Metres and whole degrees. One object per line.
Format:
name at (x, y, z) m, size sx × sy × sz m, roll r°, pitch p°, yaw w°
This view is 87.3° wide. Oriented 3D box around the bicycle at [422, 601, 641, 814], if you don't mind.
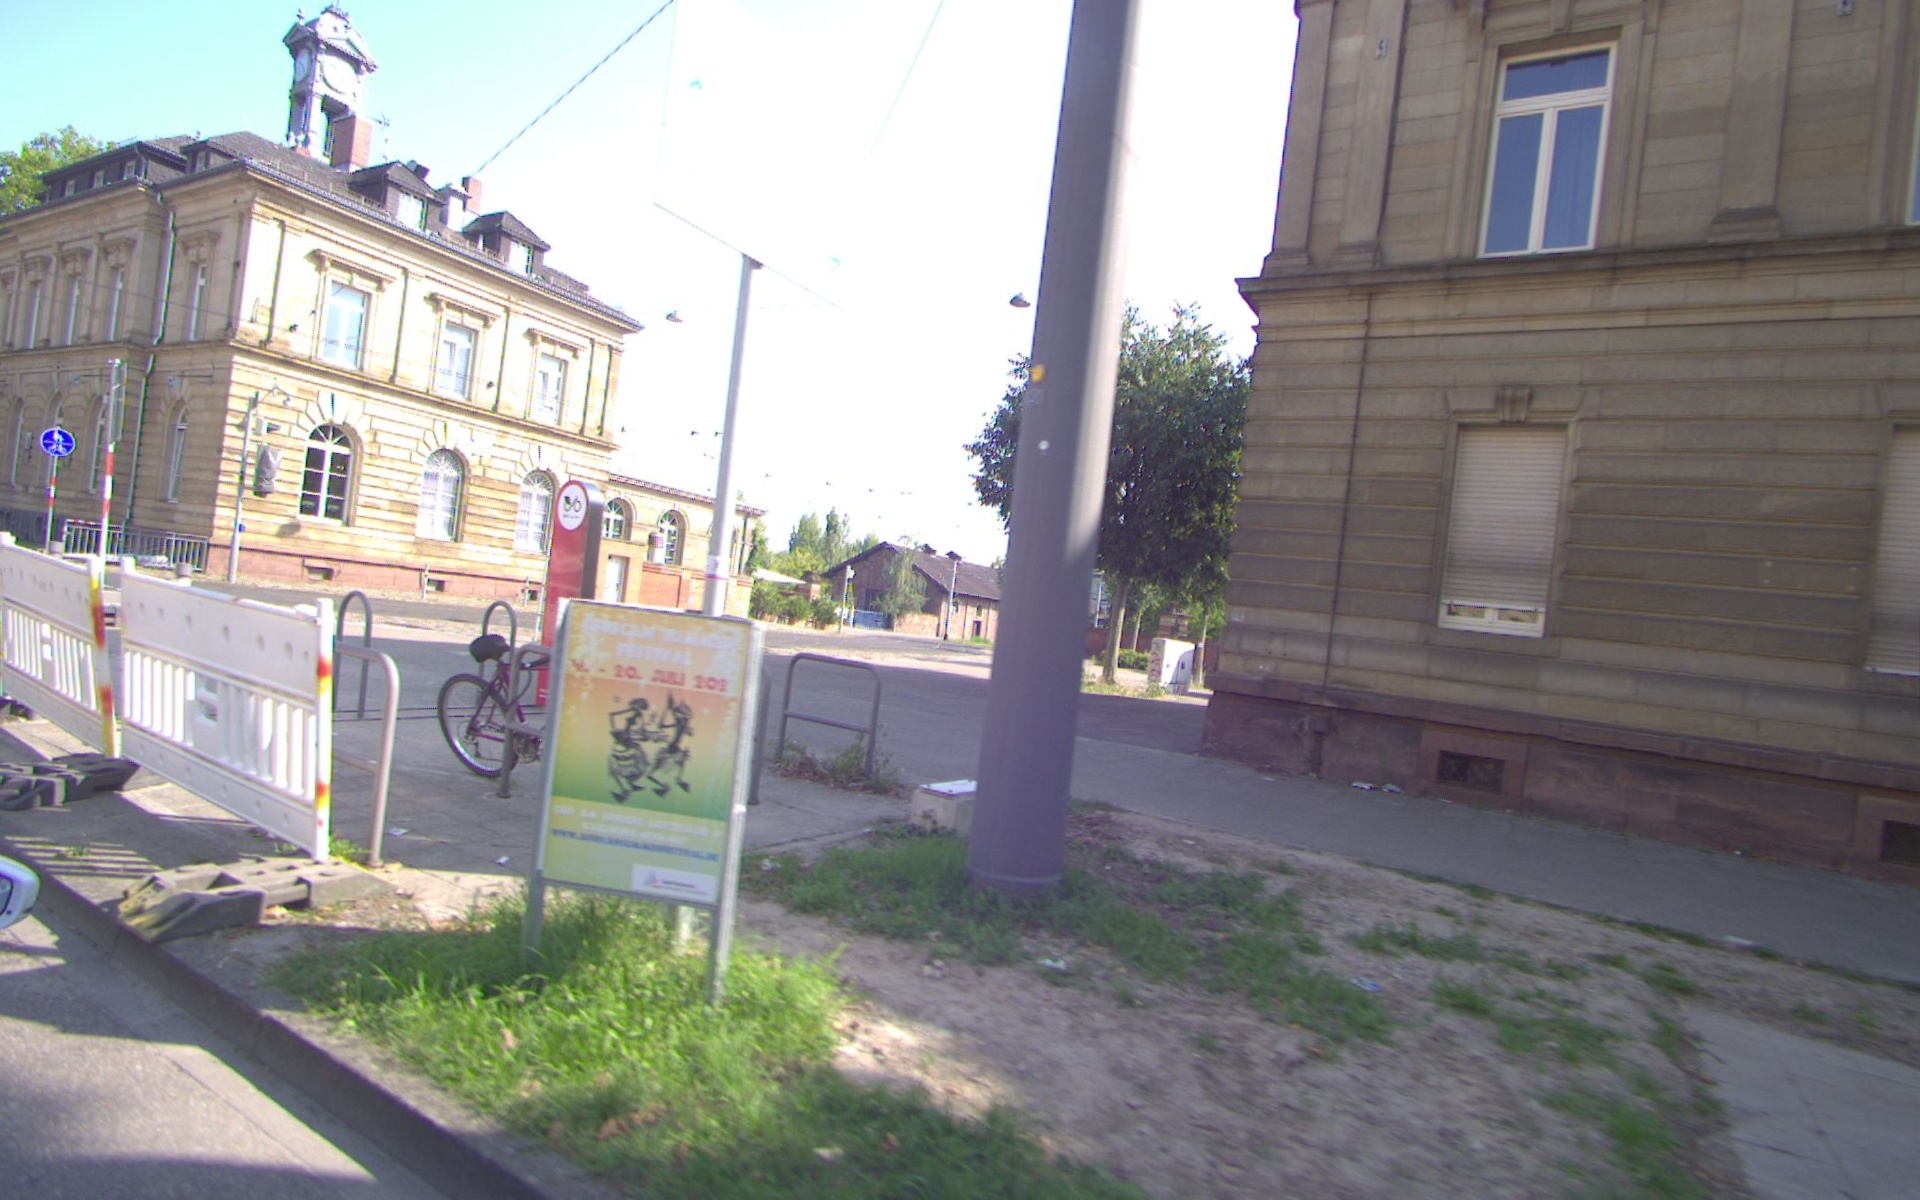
bicycle at (-2.508, 0.583, 5.836) m, size 1.354 × 0.999 × 0.410 m, roll 7°, pitch 0°, yaw 34°
